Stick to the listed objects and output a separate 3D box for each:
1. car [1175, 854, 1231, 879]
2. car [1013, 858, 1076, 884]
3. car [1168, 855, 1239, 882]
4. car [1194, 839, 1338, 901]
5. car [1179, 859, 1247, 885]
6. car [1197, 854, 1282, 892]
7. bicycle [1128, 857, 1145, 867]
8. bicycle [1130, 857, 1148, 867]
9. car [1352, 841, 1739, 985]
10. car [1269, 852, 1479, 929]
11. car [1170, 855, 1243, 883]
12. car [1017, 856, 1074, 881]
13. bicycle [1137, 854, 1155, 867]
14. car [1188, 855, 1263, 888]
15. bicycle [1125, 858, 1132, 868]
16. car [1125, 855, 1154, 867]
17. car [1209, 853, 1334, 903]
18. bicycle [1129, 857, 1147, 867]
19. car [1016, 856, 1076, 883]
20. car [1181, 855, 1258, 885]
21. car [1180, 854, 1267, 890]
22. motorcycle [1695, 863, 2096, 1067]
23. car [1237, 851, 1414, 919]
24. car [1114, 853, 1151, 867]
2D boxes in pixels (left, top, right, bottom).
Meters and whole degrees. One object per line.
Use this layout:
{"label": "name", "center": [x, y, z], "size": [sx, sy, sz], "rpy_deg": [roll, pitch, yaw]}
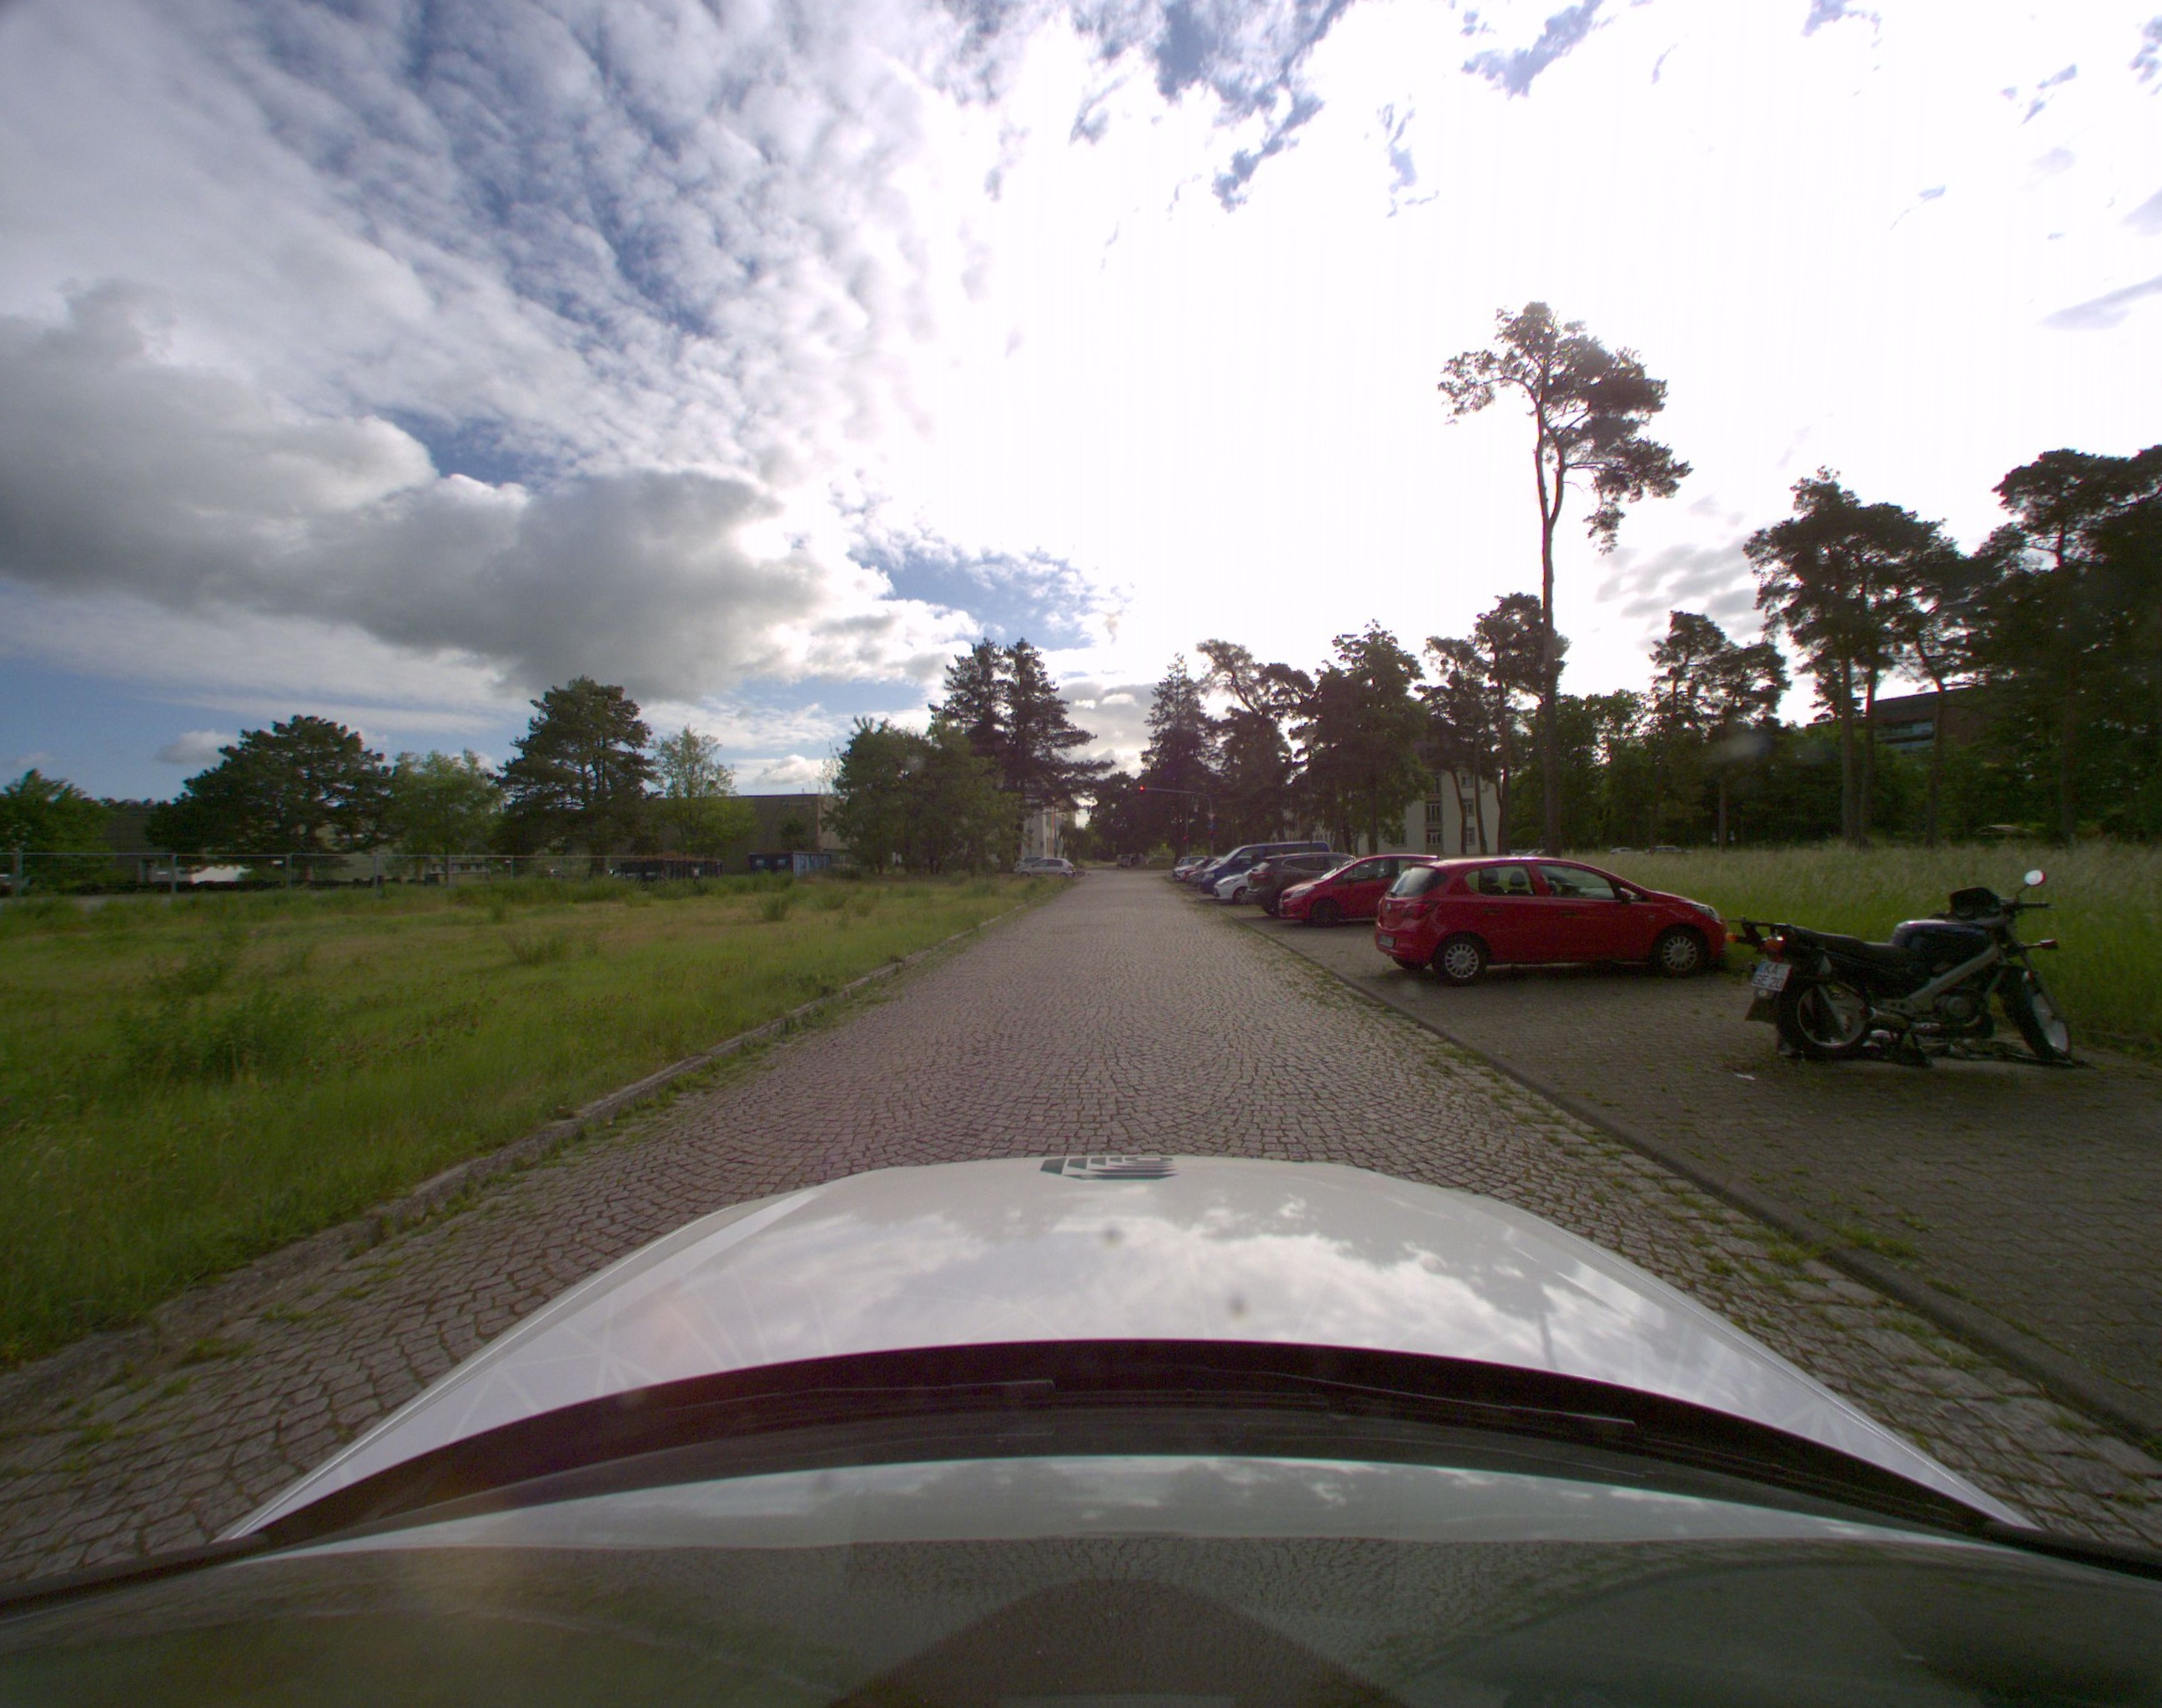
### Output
{"label": "car", "center": [7.924, 0.803, 53.131], "size": [3.381, 1.543, 1.389], "rpy_deg": [-1, 0, -3]}
{"label": "car", "center": [-2.337, 1.096, 52.739], "size": [3.978, 1.552, 1.998], "rpy_deg": [-1, 0, -4]}
{"label": "car", "center": [7.561, 0.863, 50.572], "size": [4.113, 1.543, 1.662], "rpy_deg": [-1, 0, -3]}
{"label": "car", "center": [6.574, 0.563, 29.313], "size": [4.766, 2.040, 1.738], "rpy_deg": [-1, 0, 0]}
{"label": "car", "center": [6.965, 0.953, 43.289], "size": [3.285, 1.267, 1.662], "rpy_deg": [-1, 0, -3]}
{"label": "car", "center": [6.745, 0.814, 34.871], "size": [3.281, 1.504, 1.664], "rpy_deg": [-1, 0, 0]}
{"label": "bicycle", "center": [7.076, 1.054, 104.023], "size": [2.156, 1.268, 0.811], "rpy_deg": [-1, 0, -4]}
{"label": "bicycle", "center": [7.220, 1.027, 102.214], "size": [2.156, 1.268, 0.811], "rpy_deg": [-1, 0, -4]}
{"label": "car", "center": [5.608, 0.677, 10.209], "size": [3.825, 1.505, 1.739], "rpy_deg": [-2, 0, 1]}
{"label": "car", "center": [6.276, 0.763, 17.805], "size": [3.971, 1.518, 1.739], "rpy_deg": [-1, 0, 2]}
{"label": "car", "center": [7.328, 0.855, 47.754], "size": [3.978, 1.543, 1.662], "rpy_deg": [-1, 0, -3]}
{"label": "car", "center": [-2.565, 1.023, 58.294], "size": [3.979, 1.750, 1.924], "rpy_deg": [-1, 0, -5]}
{"label": "bicycle", "center": [8.209, 0.869, 103.474], "size": [2.156, 1.616, 0.811], "rpy_deg": [-1, 0, -4]}
{"label": "car", "center": [7.186, 0.846, 40.654], "size": [3.290, 1.504, 1.659], "rpy_deg": [-1, 0, -8]}
{"label": "bicycle", "center": [5.771, 1.074, 98.508], "size": [0.806, 1.268, 1.975], "rpy_deg": [-1, 0, 4]}
{"label": "car", "center": [8.387, 0.969, 116.736], "size": [3.978, 1.644, 1.998], "rpy_deg": [-1, 0, -4]}
{"label": "car", "center": [6.218, 0.777, 26.864], "size": [3.710, 1.424, 1.654], "rpy_deg": [-3, 0, 0]}
{"label": "bicycle", "center": [7.247, 1.035, 102.801], "size": [2.156, 1.268, 0.811], "rpy_deg": [-1, 0, -4]}
{"label": "car", "center": [-2.367, 1.018, 55.231], "size": [3.978, 1.706, 1.998], "rpy_deg": [-1, 0, -4]}
{"label": "car", "center": [7.703, 0.875, 45.510], "size": [3.978, 1.543, 1.662], "rpy_deg": [-1, 0, -3]}
{"label": "car", "center": [6.573, 0.814, 37.703], "size": [3.595, 1.506, 1.659], "rpy_deg": [-1, 0, -8]}
{"label": "motorcycle", "center": [5.678, 0.737, 5.739], "size": [2.259, 1.275, 0.605], "rpy_deg": [-2, -1, -3]}
{"label": "car", "center": [6.052, 0.746, 20.468], "size": [3.936, 1.580, 1.762], "rpy_deg": [-1, 0, 1]}
{"label": "car", "center": [7.599, 0.885, 120.052], "size": [5.047, 2.014, 1.995], "rpy_deg": [-1, 0, -8]}
